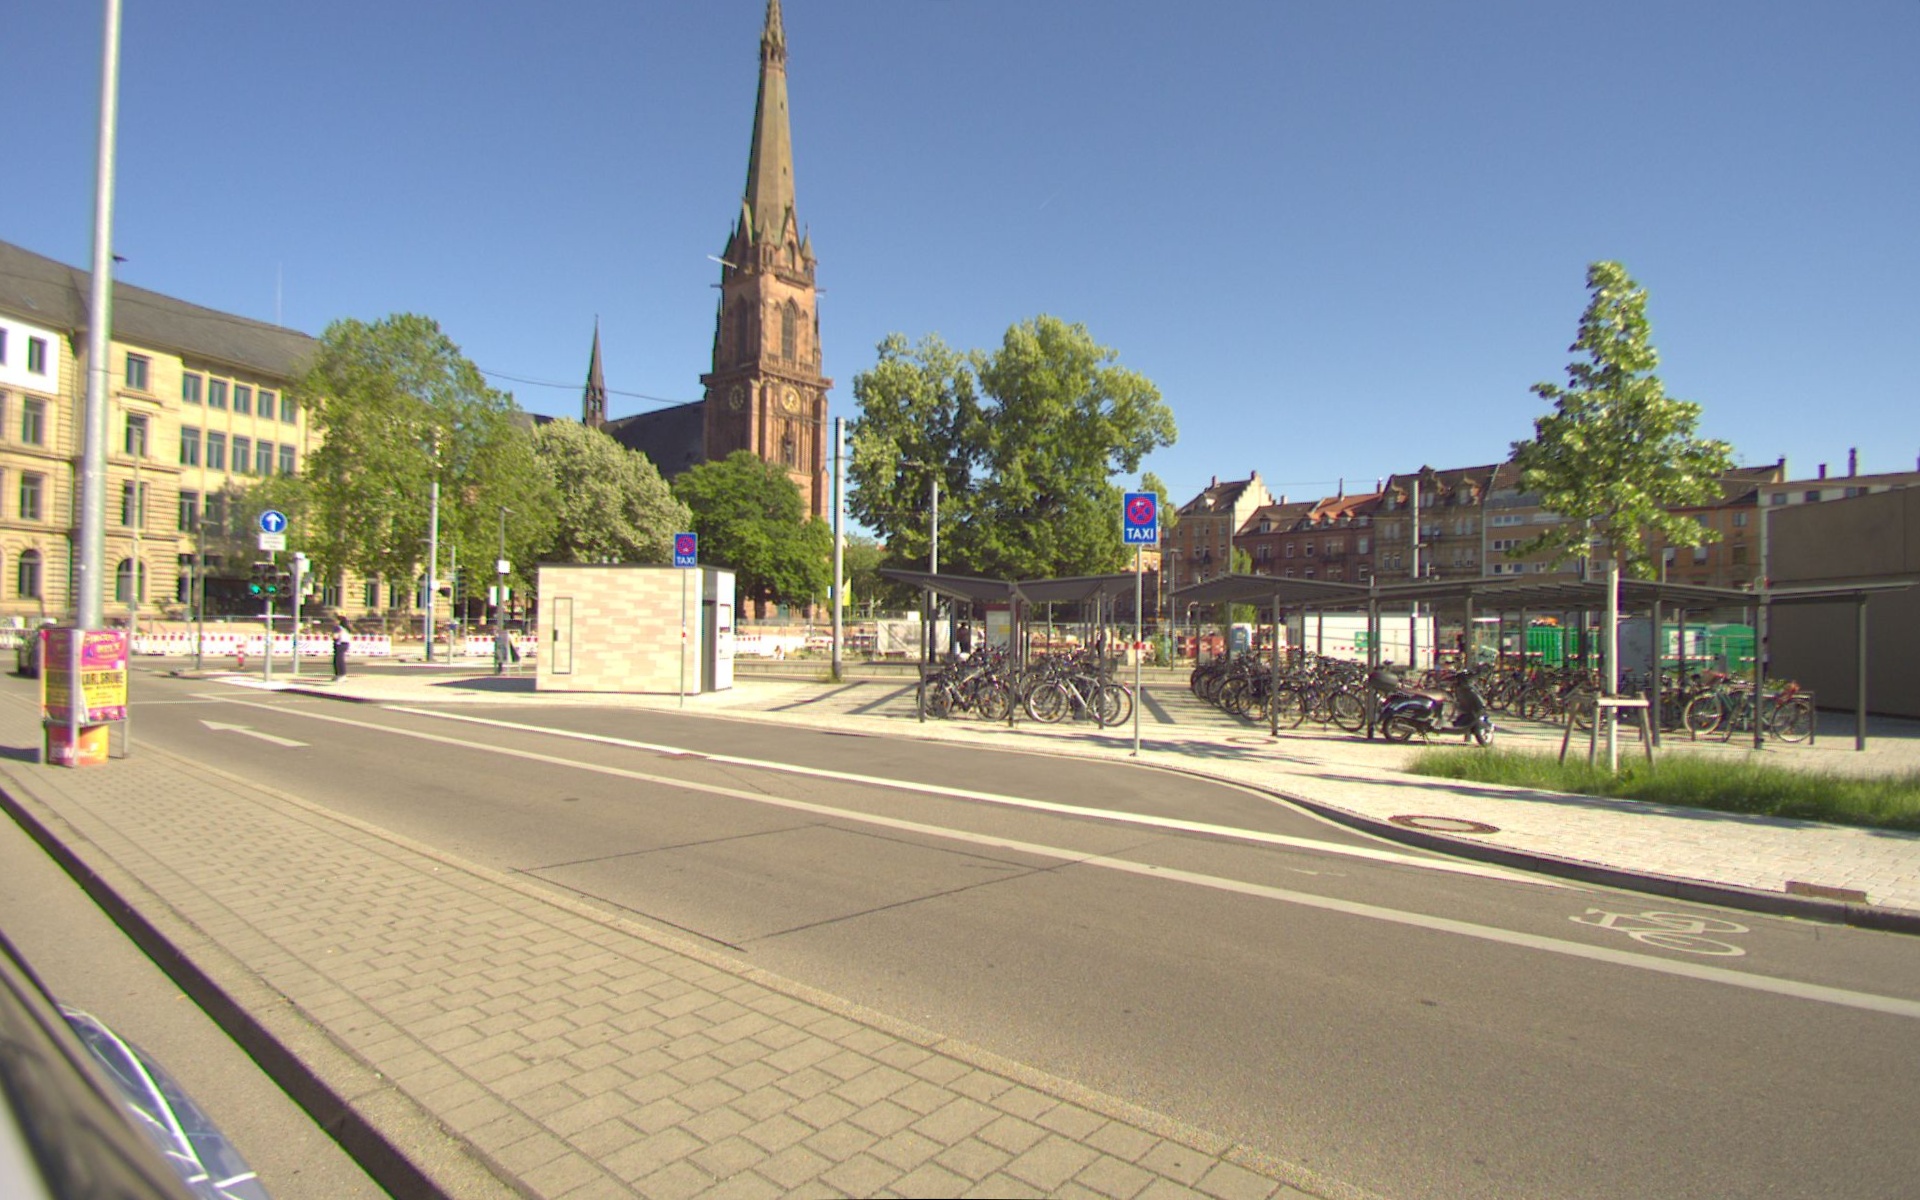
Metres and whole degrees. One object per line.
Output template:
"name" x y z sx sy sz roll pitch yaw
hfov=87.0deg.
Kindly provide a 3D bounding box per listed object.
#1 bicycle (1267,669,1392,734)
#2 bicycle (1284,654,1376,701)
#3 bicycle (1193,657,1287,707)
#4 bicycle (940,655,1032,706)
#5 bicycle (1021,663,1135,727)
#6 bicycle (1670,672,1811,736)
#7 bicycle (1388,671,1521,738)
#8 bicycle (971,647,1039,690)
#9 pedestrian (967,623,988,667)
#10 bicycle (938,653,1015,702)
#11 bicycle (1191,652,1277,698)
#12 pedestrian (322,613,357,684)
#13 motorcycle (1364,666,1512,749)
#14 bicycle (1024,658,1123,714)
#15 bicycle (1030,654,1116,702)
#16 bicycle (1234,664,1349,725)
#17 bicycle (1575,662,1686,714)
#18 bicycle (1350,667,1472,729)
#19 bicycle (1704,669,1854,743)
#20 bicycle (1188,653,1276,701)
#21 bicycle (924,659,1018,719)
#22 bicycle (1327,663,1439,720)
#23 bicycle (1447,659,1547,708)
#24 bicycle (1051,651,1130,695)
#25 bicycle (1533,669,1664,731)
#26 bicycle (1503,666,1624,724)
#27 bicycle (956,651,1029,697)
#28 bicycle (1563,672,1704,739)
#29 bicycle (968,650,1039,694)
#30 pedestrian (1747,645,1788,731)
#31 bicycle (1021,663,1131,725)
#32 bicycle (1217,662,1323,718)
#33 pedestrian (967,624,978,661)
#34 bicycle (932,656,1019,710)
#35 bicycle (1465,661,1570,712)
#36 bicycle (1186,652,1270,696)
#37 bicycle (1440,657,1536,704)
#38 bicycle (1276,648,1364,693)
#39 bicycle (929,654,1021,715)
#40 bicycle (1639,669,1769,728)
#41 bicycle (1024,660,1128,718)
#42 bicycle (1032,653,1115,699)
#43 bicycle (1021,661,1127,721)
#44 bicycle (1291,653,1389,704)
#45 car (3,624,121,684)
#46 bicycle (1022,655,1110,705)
"bicycle" 6.123 1.681 16.836 1.882 1.016 0.456 0 -2 8
"bicycle" 8.318 1.733 22.814 1.882 1.016 0.456 0 -2 8
"bicycle" 5.967 1.745 21.606 1.882 1.016 0.456 0 -2 8
"bicycle" 0.545 1.674 21.223 1.882 1.016 0.456 0 -2 8
"bicycle" 1.991 1.601 17.110 1.882 1.016 0.456 0 -2 8
"bicycle" 13.131 1.741 17.062 1.882 1.016 0.456 0 -2 8
"bicycle" 8.030 1.690 16.490 1.882 1.016 0.456 0 -2 8
"bicycle" 1.109 1.682 24.940 1.652 1.016 0.456 0 -2 8
"pedestrian" 0.722 1.844 41.653 0.792 1.793 0.977 0 -2 3
"bicycle" 0.374 1.689 22.221 1.652 1.016 0.456 0 -2 8
"bicycle" 6.368 1.730 23.563 1.882 1.016 0.456 0 -2 8
"pedestrian" -16.508 1.281 26.920 0.683 1.868 0.680 2 -2 -38
"motorcycle" 7.163 1.601 15.222 1.924 1.160 0.516 0 -2 6
"bicycle" 2.199 1.658 19.581 1.882 1.016 0.456 0 -2 8
"bicycle" 2.513 1.725 22.530 1.882 1.016 0.456 0 -2 8
"bicycle" 5.902 1.682 18.089 1.882 1.016 0.456 0 -2 8
"bicycle" 13.876 1.816 20.967 1.882 1.016 0.456 0 -2 8
"bicycle" 7.896 1.708 17.759 1.882 1.016 0.456 0 -2 8
"bicycle" 13.084 1.683 16.202 1.882 1.106 0.456 0 -2 8
"bicycle" 6.151 1.736 22.939 1.882 1.016 0.456 0 -2 8
"bicycle" 0.203 1.584 18.187 1.652 1.016 0.456 0 -2 8
"bicycle" 7.920 1.711 18.992 1.882 1.016 0.456 0 -2 8
"bicycle" 11.786 1.823 22.240 1.882 1.016 0.456 0 -2 8
"bicycle" 3.164 1.775 24.596 1.882 1.016 0.456 0 -2 8
"bicycle" 11.103 1.731 17.638 1.882 1.016 0.456 0 -2 8
"bicycle" 11.166 1.754 18.754 1.882 1.016 0.456 0 -2 8
"bicycle" 0.748 1.708 23.478 1.652 1.016 0.456 0 -2 8
"bicycle" 10.975 1.716 16.533 1.882 1.016 0.456 0 -2 8
"bicycle" 1.044 1.713 24.223 1.652 1.016 0.456 0 -2 8
"pedestrian" 19.767 2.134 24.773 0.718 2.029 0.678 -1 -3 41
"bicycle" 2.021 1.623 17.670 1.882 1.016 0.456 0 -2 8
"bicycle" 5.900 1.707 19.319 1.882 1.016 0.456 0 -2 8
"pedestrian" 0.588 1.991 47.612 0.399 1.734 0.419 1 -2 -11
"bicycle" 0.307 1.624 19.885 1.652 1.016 0.456 0 -2 8
"bicycle" 11.716 1.812 21.309 1.882 1.016 0.456 0 -2 8
"bicycle" 6.396 1.760 24.222 1.882 1.016 0.456 0 -2 8
"bicycle" 12.081 1.834 23.190 1.882 1.016 0.456 0 -2 8
"bicycle" 8.489 1.650 23.906 1.882 1.016 0.456 0 -2 8
"bicycle" 0.282 1.558 18.773 1.652 1.069 0.456 0 -2 8
"bicycle" 13.471 1.775 18.360 1.882 1.016 0.456 0 -2 8
"bicycle" 2.139 1.644 18.740 1.882 1.016 0.456 0 -2 8
"bicycle" 2.608 1.746 23.300 1.882 1.016 0.456 0 -2 8
"bicycle" 2.057 1.632 18.258 1.882 1.016 0.456 0 -2 8
"bicycle" 8.059 1.659 21.516 1.882 1.016 0.456 0 -2 8
"car" -24.660 1.442 27.743 4.572 1.511 1.770 -1 -3 41
"bicycle" 2.299 1.721 21.917 1.882 1.016 0.456 0 -2 8
